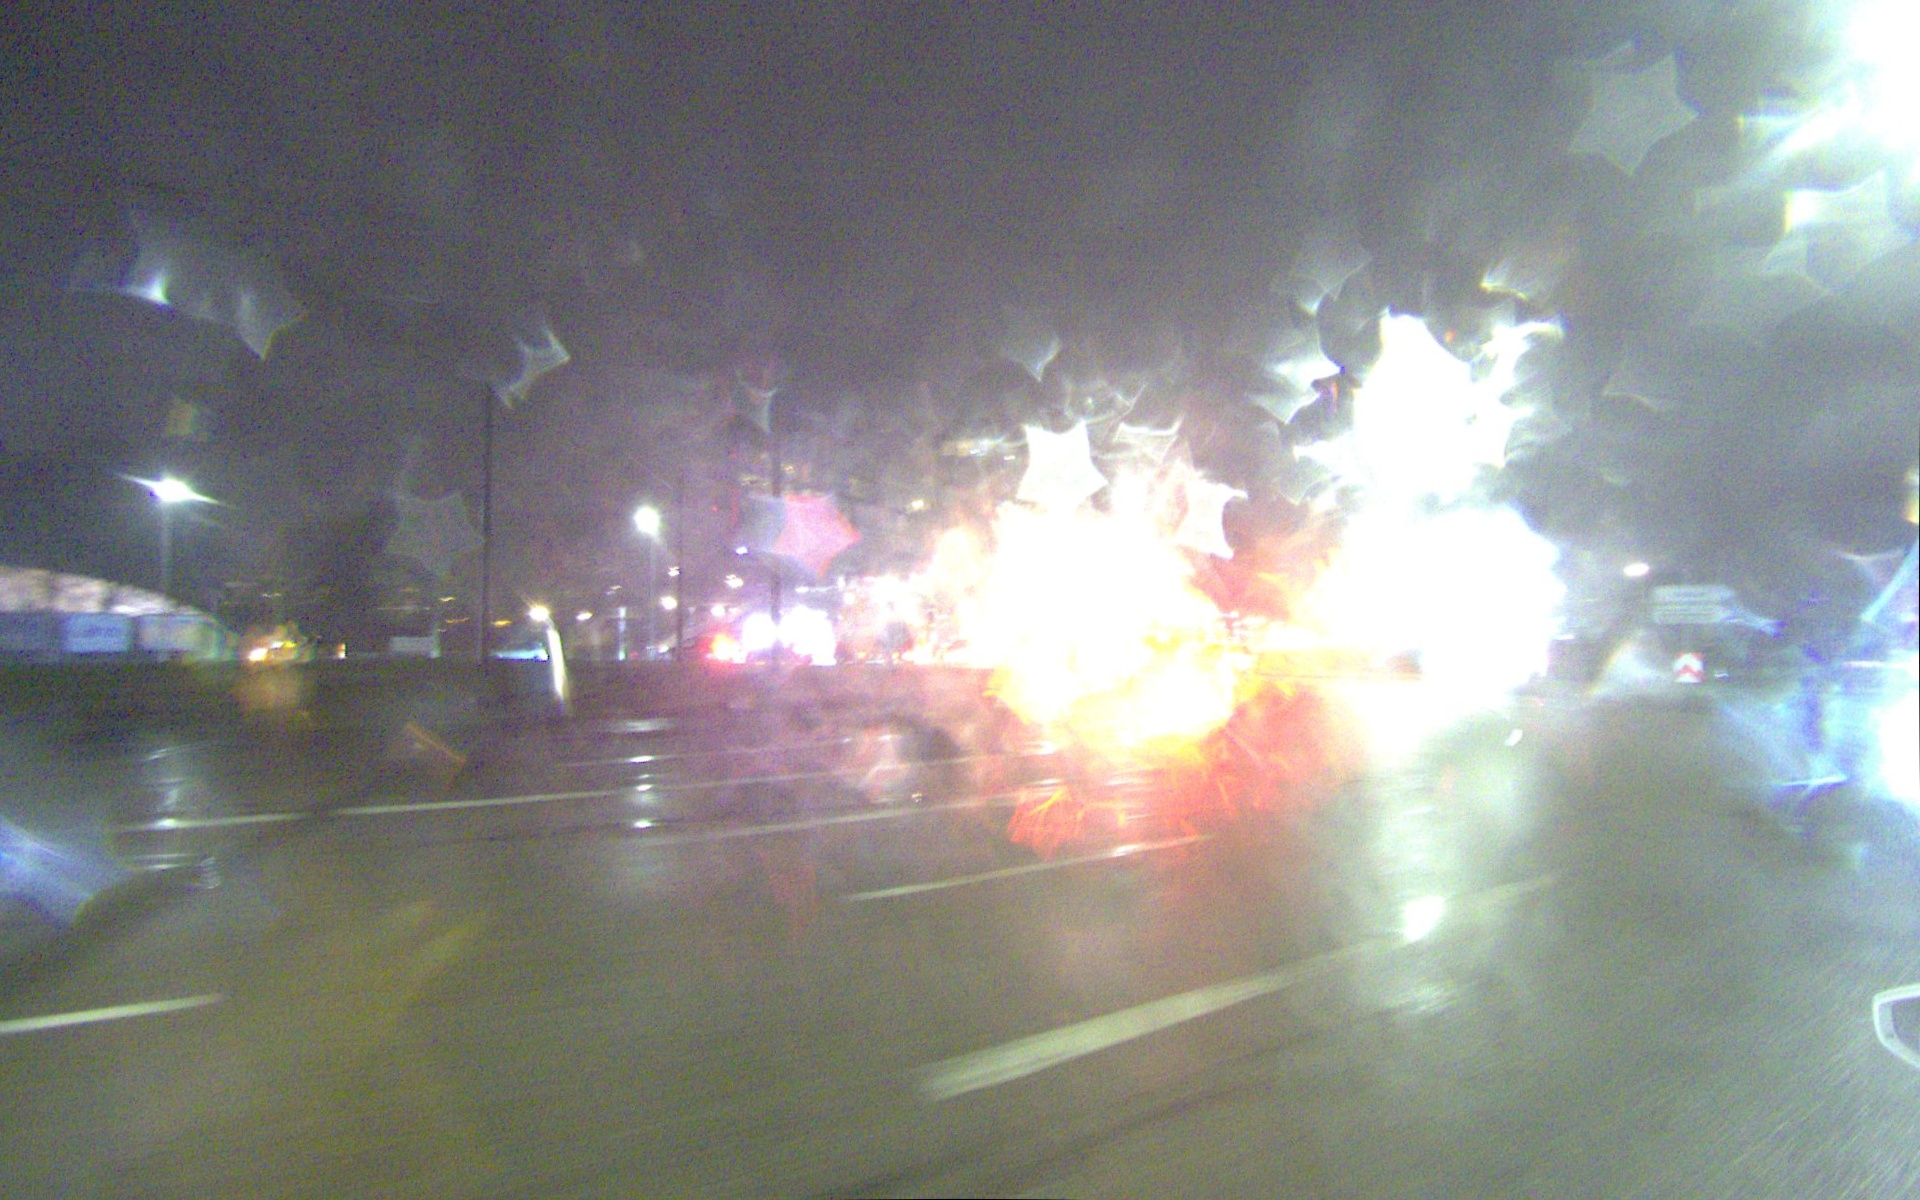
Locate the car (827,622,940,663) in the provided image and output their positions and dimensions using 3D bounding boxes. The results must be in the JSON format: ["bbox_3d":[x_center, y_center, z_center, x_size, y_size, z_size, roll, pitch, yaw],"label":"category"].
[{"bbox_3d":[-4.283,2.278,55.225,6.218,2.117,2.504,0,-1,39],"label":"car"}]

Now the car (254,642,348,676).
[{"bbox_3d":[-34.475,3.042,52.585,3.846,1.639,1.750,1,-1,-44],"label":"car"}]

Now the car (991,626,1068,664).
[{"bbox_3d":[3.108,2.008,45.572,1.715,1.599,3.937,1,-1,-27],"label":"car"}]

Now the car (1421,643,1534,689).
[{"bbox_3d":[20.682,2.616,40.320,3.814,1.661,1.864,0,-1,19],"label":"car"}]

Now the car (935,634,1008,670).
[{"bbox_3d":[0.536,2.551,50.233,1.817,1.637,3.964,1,-1,-33],"label":"car"}]

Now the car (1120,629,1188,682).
[{"bbox_3d":[6.379,1.809,33.424,1.702,1.599,3.966,0,-1,3],"label":"car"}]

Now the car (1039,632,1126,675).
[{"bbox_3d":[4.905,2.133,40.771,1.849,1.599,3.945,1,-1,-21],"label":"car"}]

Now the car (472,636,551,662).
[{"bbox_3d":[-26.624,2.880,59.665,3.980,1.463,1.814,1,-1,-37],"label":"car"}]

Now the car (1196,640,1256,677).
[{"bbox_3d":[12.545,2.744,47.654,1.565,1.605,3.998,0,-1,-4],"label":"car"}]

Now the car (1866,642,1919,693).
[{"bbox_3d":[36.374,2.478,36.640,4.526,1.759,2.001,0,-1,14],"label":"car"}]
